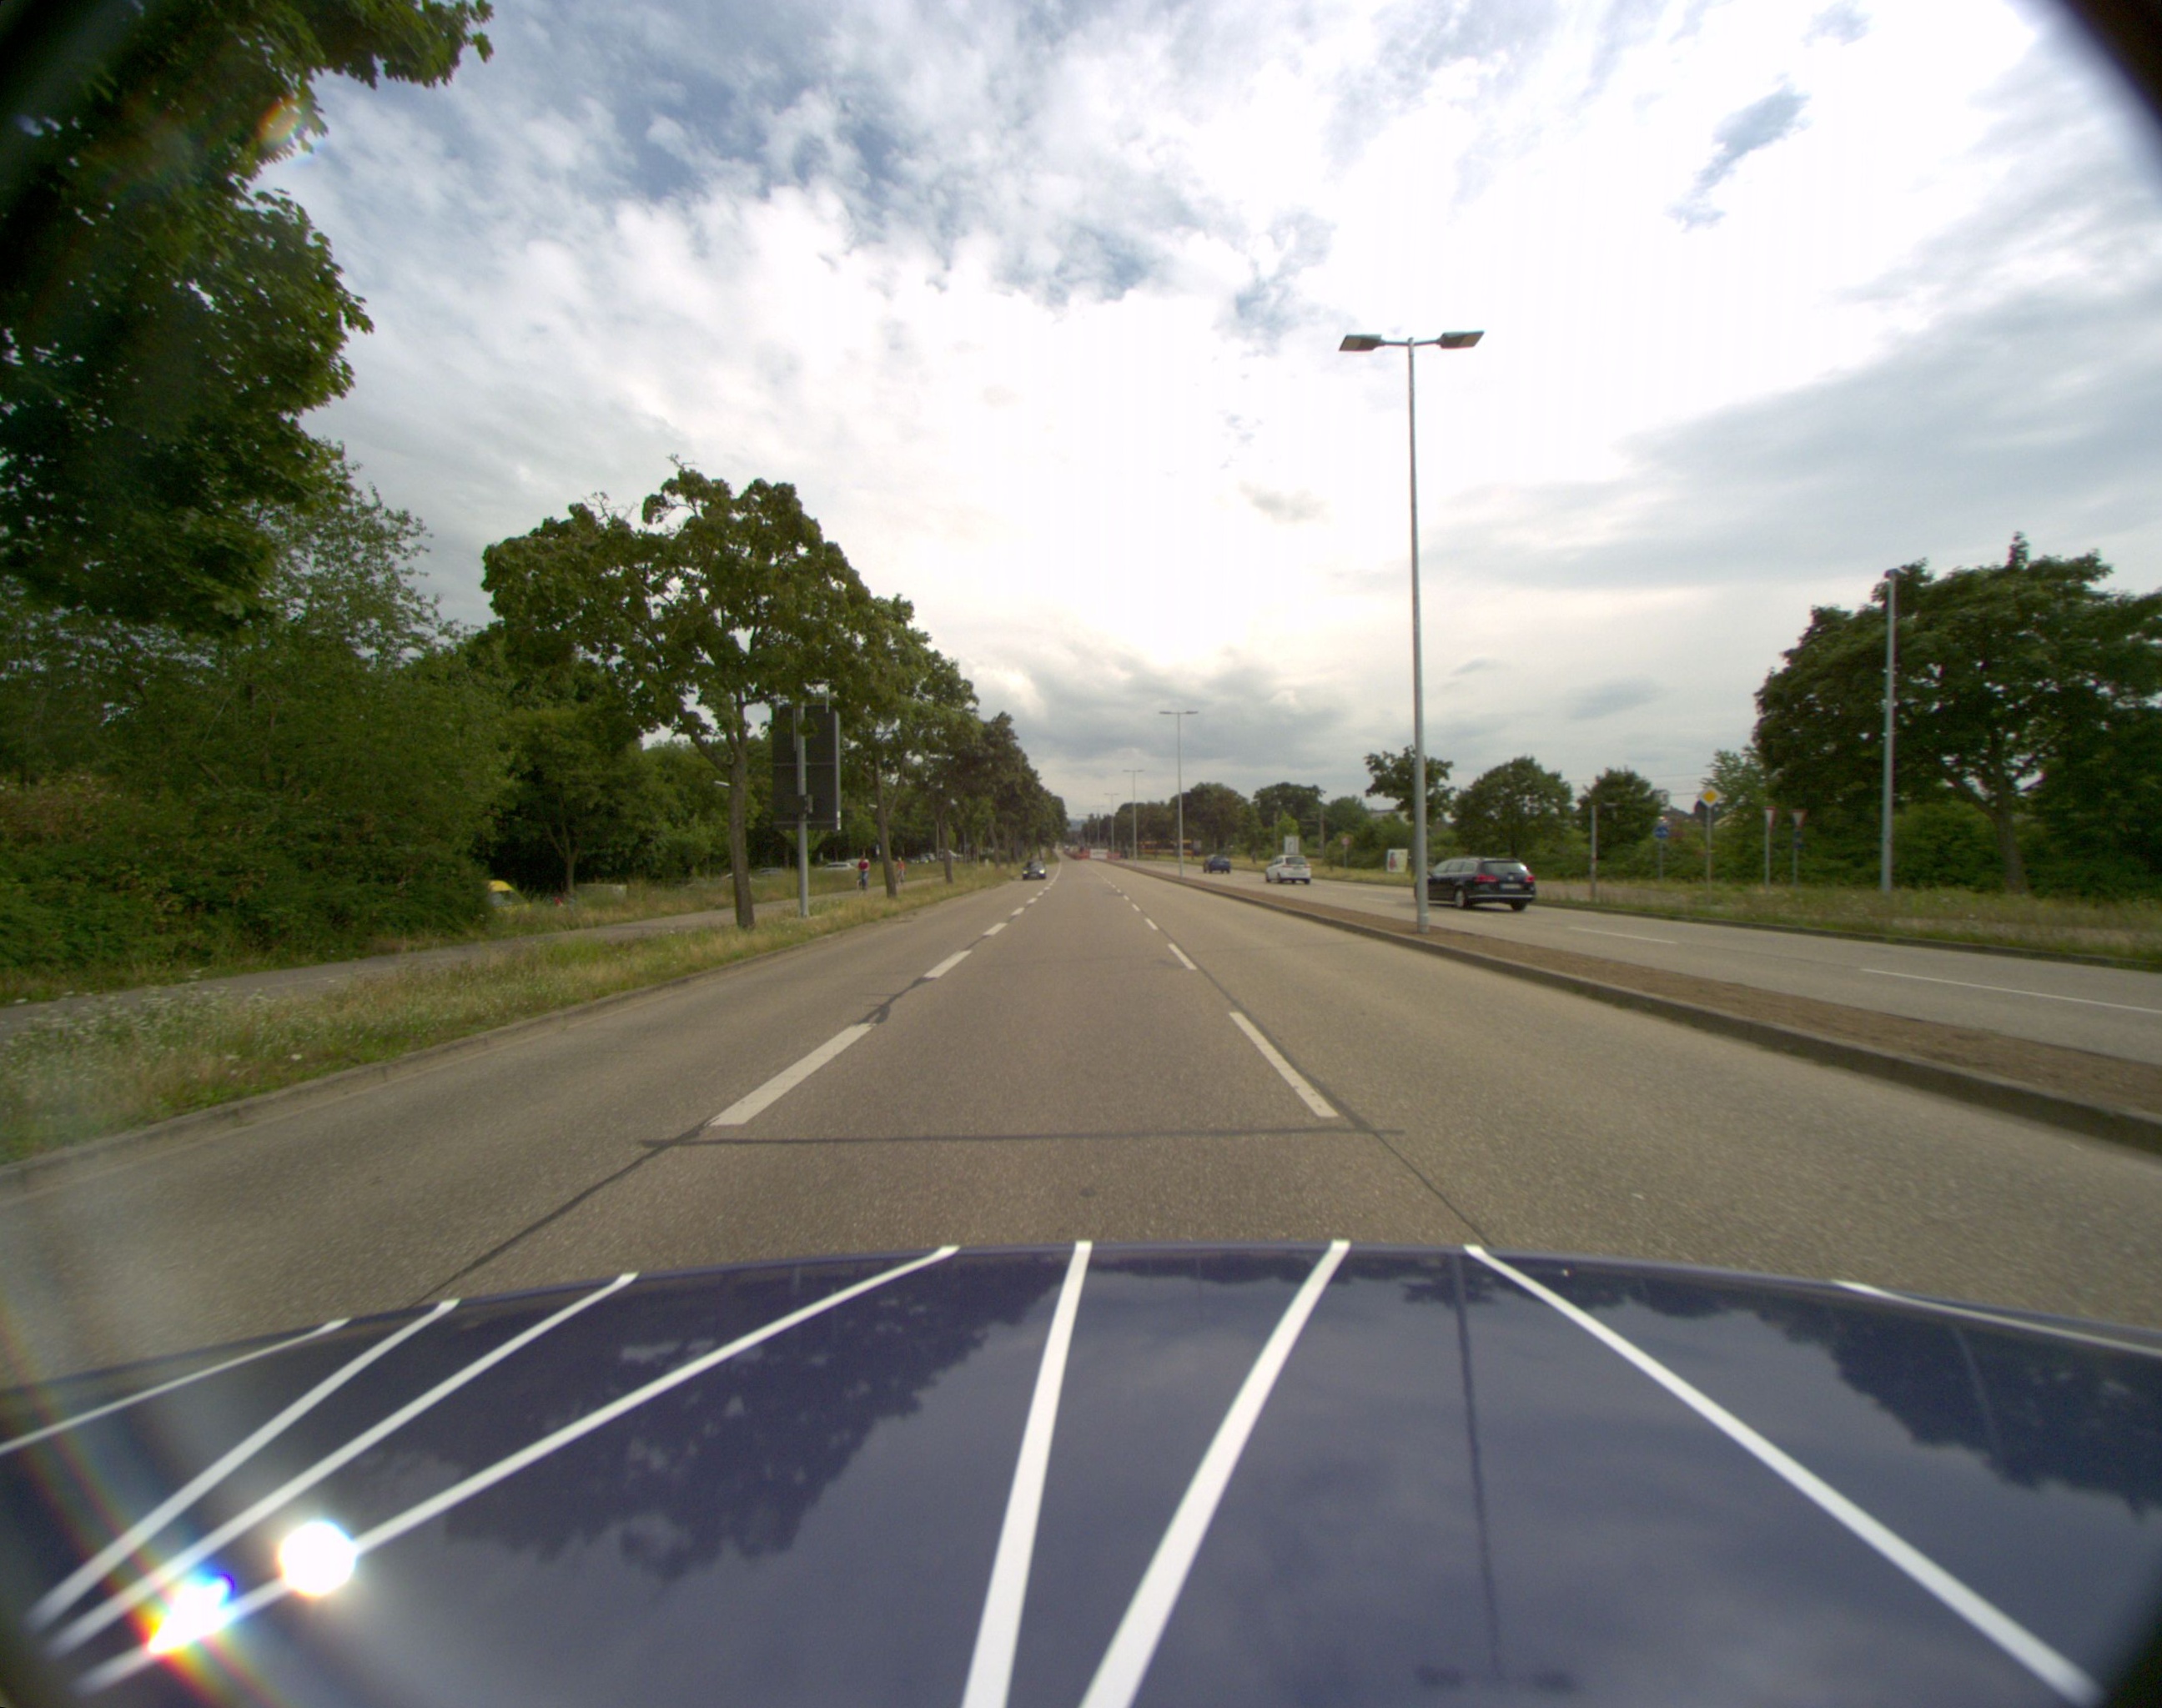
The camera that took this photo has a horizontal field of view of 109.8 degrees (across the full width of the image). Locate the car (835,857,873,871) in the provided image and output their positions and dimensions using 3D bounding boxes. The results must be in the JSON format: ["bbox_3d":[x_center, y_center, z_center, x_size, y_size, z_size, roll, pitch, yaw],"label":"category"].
[{"bbox_3d":[-26.389,1.158,88.559,3.999,1.546,1.650,0,1,-6],"label":"car"}]

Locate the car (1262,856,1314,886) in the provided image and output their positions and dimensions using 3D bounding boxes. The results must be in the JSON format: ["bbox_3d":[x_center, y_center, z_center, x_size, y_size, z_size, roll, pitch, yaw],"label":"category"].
[{"bbox_3d":[12.261,0.986,45.217,1.773,1.644,4.638,1,0,0],"label":"car"}]

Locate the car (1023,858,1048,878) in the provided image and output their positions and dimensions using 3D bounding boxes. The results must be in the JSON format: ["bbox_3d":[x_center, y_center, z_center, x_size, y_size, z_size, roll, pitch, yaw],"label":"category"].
[{"bbox_3d":[-3.465,1.035,59.031,1.773,1.439,4.323,-1,0,-1],"label":"car"}]

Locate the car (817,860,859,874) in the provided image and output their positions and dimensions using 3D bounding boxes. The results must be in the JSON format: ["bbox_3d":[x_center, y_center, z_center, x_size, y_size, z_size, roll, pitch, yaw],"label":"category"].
[{"bbox_3d":[-25.954,1.383,81.241,3.999,1.435,1.650,0,1,-6],"label":"car"}]

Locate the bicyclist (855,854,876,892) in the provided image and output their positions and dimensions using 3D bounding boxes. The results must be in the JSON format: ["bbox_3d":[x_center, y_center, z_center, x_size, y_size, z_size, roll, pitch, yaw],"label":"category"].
[{"bbox_3d":[-9.607,0.859,33.903,0.653,1.648,0.781,-2,1,0],"label":"bicyclist"}]

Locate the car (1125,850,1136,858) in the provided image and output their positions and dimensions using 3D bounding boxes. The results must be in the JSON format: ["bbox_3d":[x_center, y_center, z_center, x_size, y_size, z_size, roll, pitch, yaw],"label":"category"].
[{"bbox_3d":[10.373,0.050,159.768,1.852,1.644,4.257,0,0,-4],"label":"car"}]

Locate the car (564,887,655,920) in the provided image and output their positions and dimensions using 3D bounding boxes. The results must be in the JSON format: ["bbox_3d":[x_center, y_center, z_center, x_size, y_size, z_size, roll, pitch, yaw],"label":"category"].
[{"bbox_3d":[-27.285,2.833,44.109,3.997,1.783,2.000,0,0,-1],"label":"car"}]

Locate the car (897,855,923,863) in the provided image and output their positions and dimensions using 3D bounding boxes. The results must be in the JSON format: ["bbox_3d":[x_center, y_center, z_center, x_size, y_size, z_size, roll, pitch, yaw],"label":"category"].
[{"bbox_3d":[-28.178,0.820,125.143,3.999,1.358,1.618,0,0,-6],"label":"car"}]

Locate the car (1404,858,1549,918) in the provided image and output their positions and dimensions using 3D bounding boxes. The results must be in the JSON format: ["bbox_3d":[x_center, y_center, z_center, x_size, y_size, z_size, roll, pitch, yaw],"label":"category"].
[{"bbox_3d":[11.430,0.916,22.374,1.773,1.523,4.740,0,0,0],"label":"car"}]

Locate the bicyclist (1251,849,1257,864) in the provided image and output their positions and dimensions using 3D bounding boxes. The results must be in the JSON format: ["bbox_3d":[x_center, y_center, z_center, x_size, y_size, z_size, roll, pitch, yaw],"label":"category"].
[{"bbox_3d":[21.931,0.317,96.307,0.645,1.821,0.819,0,1,0],"label":"bicyclist"}]

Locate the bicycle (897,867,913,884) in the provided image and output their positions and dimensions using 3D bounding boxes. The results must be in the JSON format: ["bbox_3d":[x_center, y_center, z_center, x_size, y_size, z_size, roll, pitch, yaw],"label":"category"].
[{"bbox_3d":[-10.508,1.270,45.381,0.515,0.958,1.782,0,0,0],"label":"bicycle"}]

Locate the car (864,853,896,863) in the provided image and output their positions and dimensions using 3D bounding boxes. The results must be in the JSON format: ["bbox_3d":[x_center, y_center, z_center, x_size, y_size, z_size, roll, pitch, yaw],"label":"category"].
[{"bbox_3d":[-28.033,0.599,106.002,3.999,1.358,1.618,0,0,-6],"label":"car"}]

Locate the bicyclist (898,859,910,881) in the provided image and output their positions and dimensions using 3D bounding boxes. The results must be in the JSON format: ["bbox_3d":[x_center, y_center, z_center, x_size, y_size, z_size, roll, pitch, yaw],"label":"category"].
[{"bbox_3d":[-10.533,0.954,45.267,0.540,1.275,0.450,-2,1,0],"label":"bicyclist"}]

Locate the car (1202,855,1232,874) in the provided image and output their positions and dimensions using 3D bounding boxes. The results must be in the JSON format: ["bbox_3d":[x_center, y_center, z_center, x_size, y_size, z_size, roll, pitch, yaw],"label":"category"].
[{"bbox_3d":[12.174,0.922,68.166,1.852,1.644,4.564,0,0,0],"label":"car"}]

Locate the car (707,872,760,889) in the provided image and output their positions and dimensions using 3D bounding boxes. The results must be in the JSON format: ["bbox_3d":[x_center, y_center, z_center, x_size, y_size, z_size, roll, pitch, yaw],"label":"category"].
[{"bbox_3d":[-26.993,2.064,59.120,3.448,1.184,1.357,-1,0,-6],"label":"car"}]

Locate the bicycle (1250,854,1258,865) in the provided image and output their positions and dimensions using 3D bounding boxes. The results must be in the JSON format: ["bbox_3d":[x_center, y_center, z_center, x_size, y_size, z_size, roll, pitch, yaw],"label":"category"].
[{"bbox_3d":[21.921,0.667,96.256,0.537,1.414,2.166,1,0,0],"label":"bicycle"}]

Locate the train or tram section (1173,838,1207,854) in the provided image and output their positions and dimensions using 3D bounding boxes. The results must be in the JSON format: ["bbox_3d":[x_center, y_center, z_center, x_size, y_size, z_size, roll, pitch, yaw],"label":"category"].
[{"bbox_3d":[23.881,-1.693,167.196,2.924,3.402,11.931,-2,1,-15],"label":"train or tram section"}]

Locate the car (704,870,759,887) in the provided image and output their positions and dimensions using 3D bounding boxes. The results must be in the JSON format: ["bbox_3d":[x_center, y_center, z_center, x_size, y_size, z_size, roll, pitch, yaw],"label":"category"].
[{"bbox_3d":[-26.093,1.817,56.818,3.448,1.184,1.357,-1,0,-6],"label":"car"}]

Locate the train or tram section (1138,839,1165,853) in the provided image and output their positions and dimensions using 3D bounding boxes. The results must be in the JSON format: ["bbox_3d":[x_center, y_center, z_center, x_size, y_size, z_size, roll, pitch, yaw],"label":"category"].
[{"bbox_3d":[17.570,-1.883,190.176,2.924,3.402,11.931,-2,1,-14],"label":"train or tram section"}]

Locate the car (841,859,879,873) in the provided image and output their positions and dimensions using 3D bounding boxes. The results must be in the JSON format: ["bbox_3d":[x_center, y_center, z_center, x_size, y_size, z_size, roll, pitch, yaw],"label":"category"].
[{"bbox_3d":[-26.726,1.464,91.968,3.998,1.576,1.803,0,1,-3],"label":"car"}]

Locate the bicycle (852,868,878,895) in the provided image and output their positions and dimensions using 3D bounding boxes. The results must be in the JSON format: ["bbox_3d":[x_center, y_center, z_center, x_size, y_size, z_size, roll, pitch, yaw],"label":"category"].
[{"bbox_3d":[-9.621,1.210,33.852,0.515,1.141,2.231,0,0,0],"label":"bicycle"}]
